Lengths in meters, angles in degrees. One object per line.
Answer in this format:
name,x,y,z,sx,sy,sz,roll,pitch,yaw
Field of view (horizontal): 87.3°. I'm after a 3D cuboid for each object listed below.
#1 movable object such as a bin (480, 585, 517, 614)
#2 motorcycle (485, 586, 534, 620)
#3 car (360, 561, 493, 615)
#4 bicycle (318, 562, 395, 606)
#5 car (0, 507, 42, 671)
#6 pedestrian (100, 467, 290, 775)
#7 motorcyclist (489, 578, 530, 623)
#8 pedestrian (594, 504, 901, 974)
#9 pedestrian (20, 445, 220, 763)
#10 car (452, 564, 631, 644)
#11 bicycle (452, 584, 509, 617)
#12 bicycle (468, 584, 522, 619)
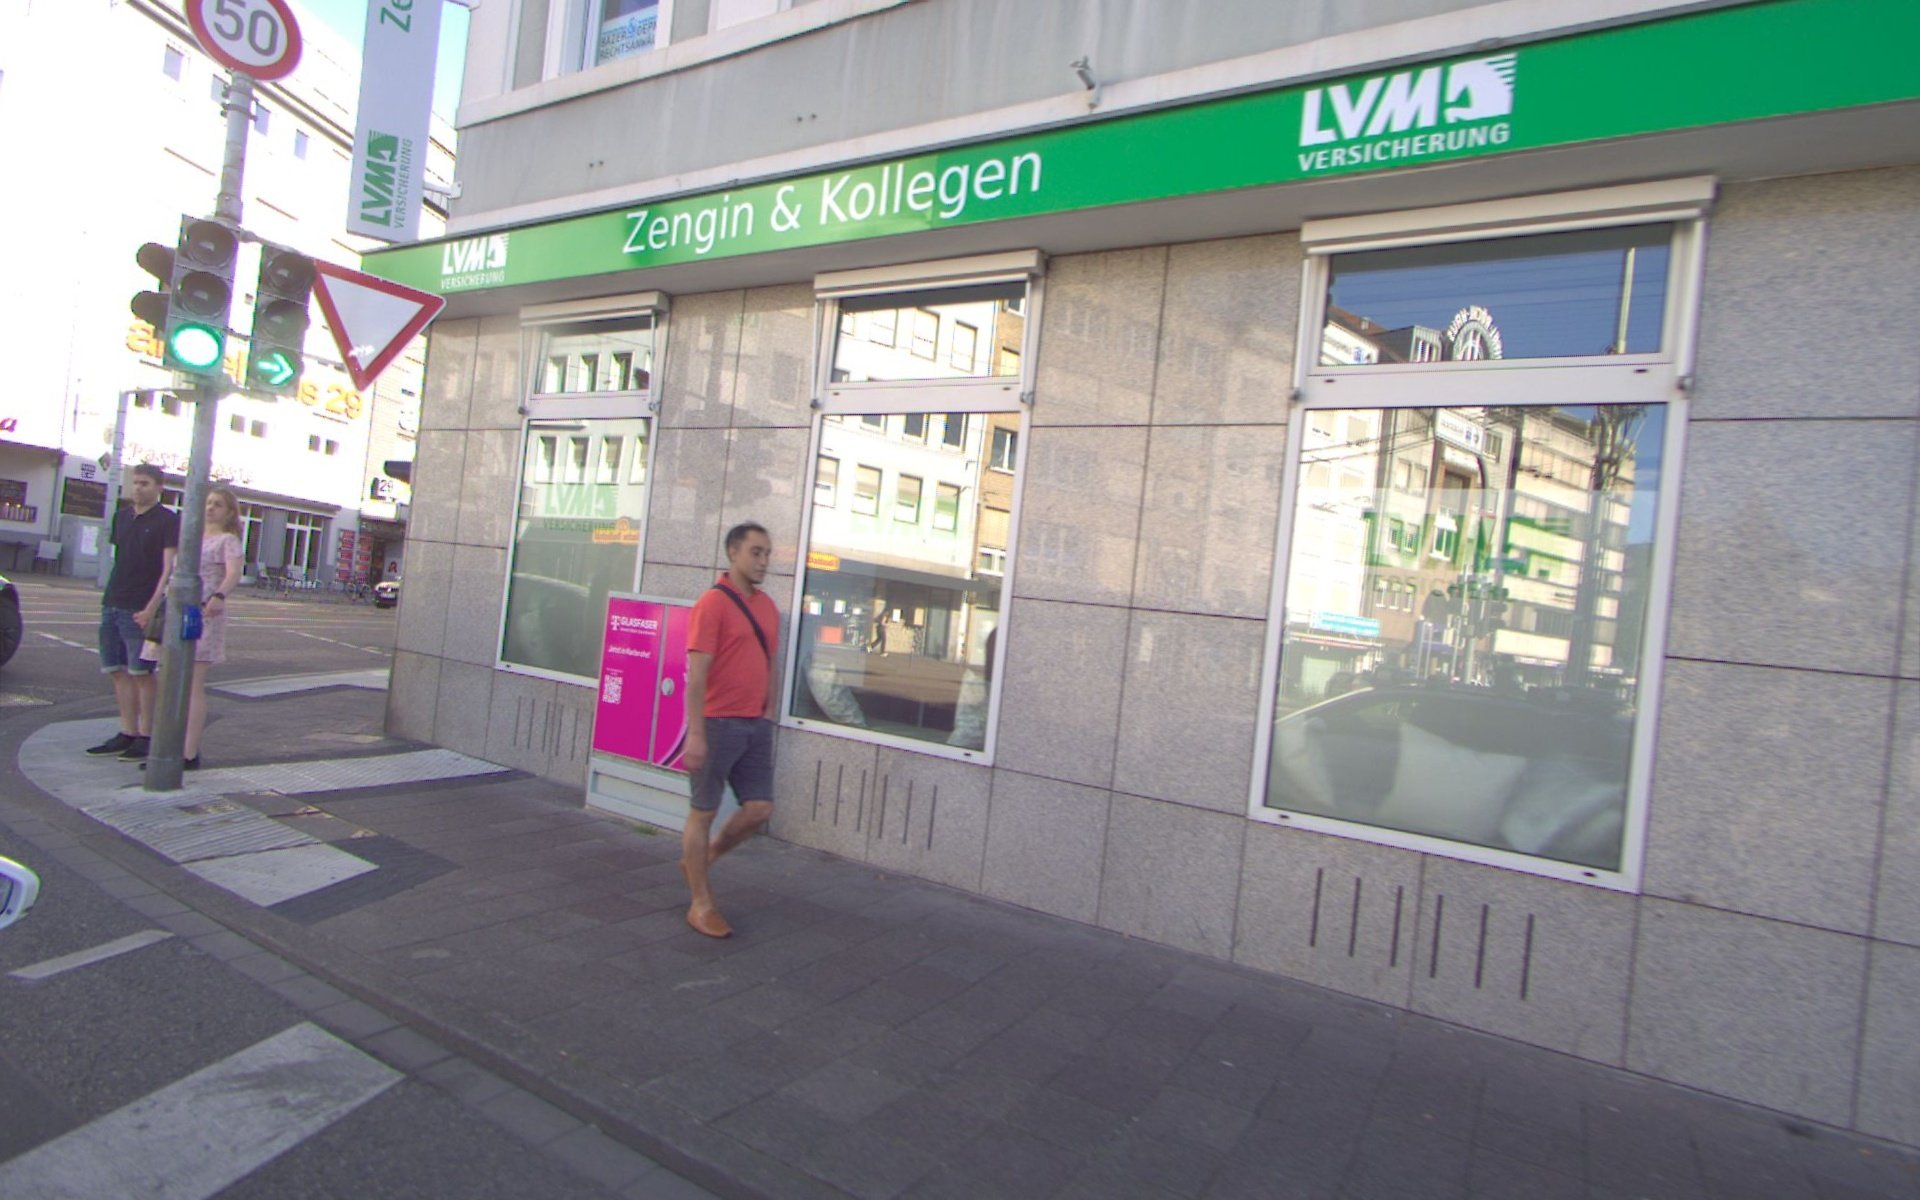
movable object such as a bin,-19.669,-0.008,42.856,1.082,1.084,0.735,7,0,8
motorcycle,-16.796,0.139,37.543,0.561,1.133,2.119,5,-2,8
car,-17.340,-0.337,32.932,1.686,1.463,4.142,4,-2,8
bicycle,-20.903,-0.548,34.855,2.070,1.238,0.774,8,-1,2
car,-8.535,-0.141,7.114,1.854,1.444,4.334,7,-1,-28
pedestrian,-4.718,0.123,6.216,0.638,1.780,0.573,6,-1,31
motorcyclist,-16.822,0.021,37.585,0.790,1.577,1.147,5,-1,8
pedestrian,-0.894,0.517,4.257,0.897,1.724,0.690,6,1,33
pedestrian,-5.270,0.022,6.324,0.670,1.864,0.640,6,0,31
car,-9.325,0.175,22.862,1.734,1.435,4.360,6,-2,6
bicycle,-19.775,0.009,41.508,1.904,1.124,0.774,6,-1,2
bicycle,-19.551,0.073,42.337,1.904,1.204,0.552,7,0,3
